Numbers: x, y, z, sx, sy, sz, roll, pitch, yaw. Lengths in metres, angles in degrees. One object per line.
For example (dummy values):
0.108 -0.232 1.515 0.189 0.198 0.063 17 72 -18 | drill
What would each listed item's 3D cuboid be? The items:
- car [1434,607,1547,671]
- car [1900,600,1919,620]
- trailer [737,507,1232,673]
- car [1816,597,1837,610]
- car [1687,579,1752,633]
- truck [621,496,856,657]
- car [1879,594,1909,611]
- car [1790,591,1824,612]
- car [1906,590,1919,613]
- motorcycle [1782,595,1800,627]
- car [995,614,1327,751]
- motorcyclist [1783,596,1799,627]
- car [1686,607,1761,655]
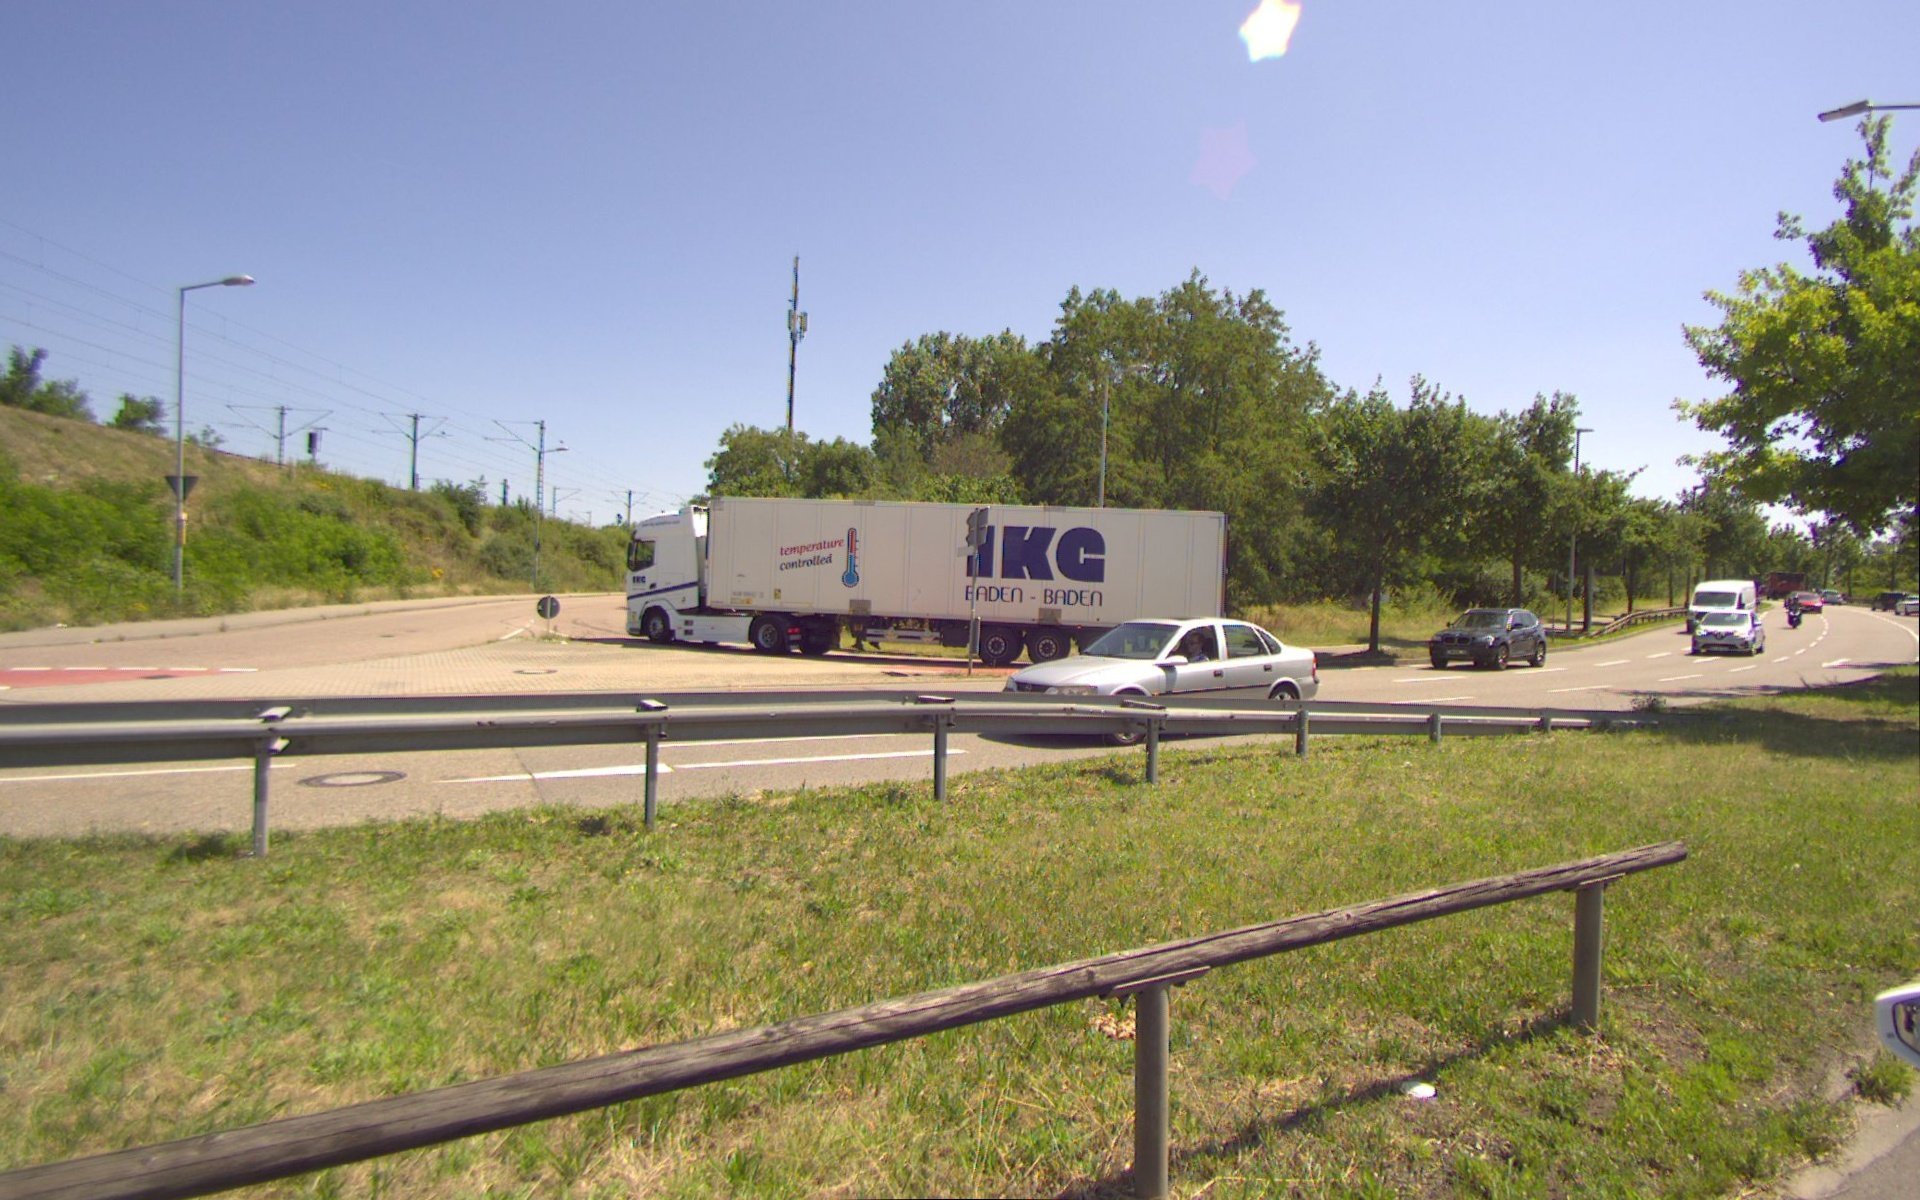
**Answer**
15.080 1.087 28.471 4.442 1.654 1.474 2 0 -44 | car
68.111 0.711 71.489 1.438 1.331 3.623 2 0 38 | car
0.623 -0.254 26.804 12.455 4.104 3.021 0 1 -1 | trailer
85.652 0.356 99.283 1.305 1.154 2.984 2 0 37 | car
37.806 0.280 49.941 2.071 2.534 5.776 0 0 43 | car
-6.225 -0.644 28.047 6.155 4.075 2.548 2 0 28 | truck
75.021 0.198 80.718 1.400 1.331 3.324 2 0 38 | car
63.629 0.158 75.447 1.811 1.456 4.501 -1 -2 42 | car
67.978 0.126 70.732 1.644 1.484 3.566 2 0 38 | car
44.914 0.609 54.274 0.591 1.700 2.412 2 0 42 | motorcycle
2.579 0.925 12.395 4.181 1.421 1.623 2 -1 -36 | car
44.880 0.645 54.263 0.580 1.648 0.559 2 0 43 | motorcyclist
27.103 1.104 35.605 1.618 1.588 4.047 0 -2 45 | car
